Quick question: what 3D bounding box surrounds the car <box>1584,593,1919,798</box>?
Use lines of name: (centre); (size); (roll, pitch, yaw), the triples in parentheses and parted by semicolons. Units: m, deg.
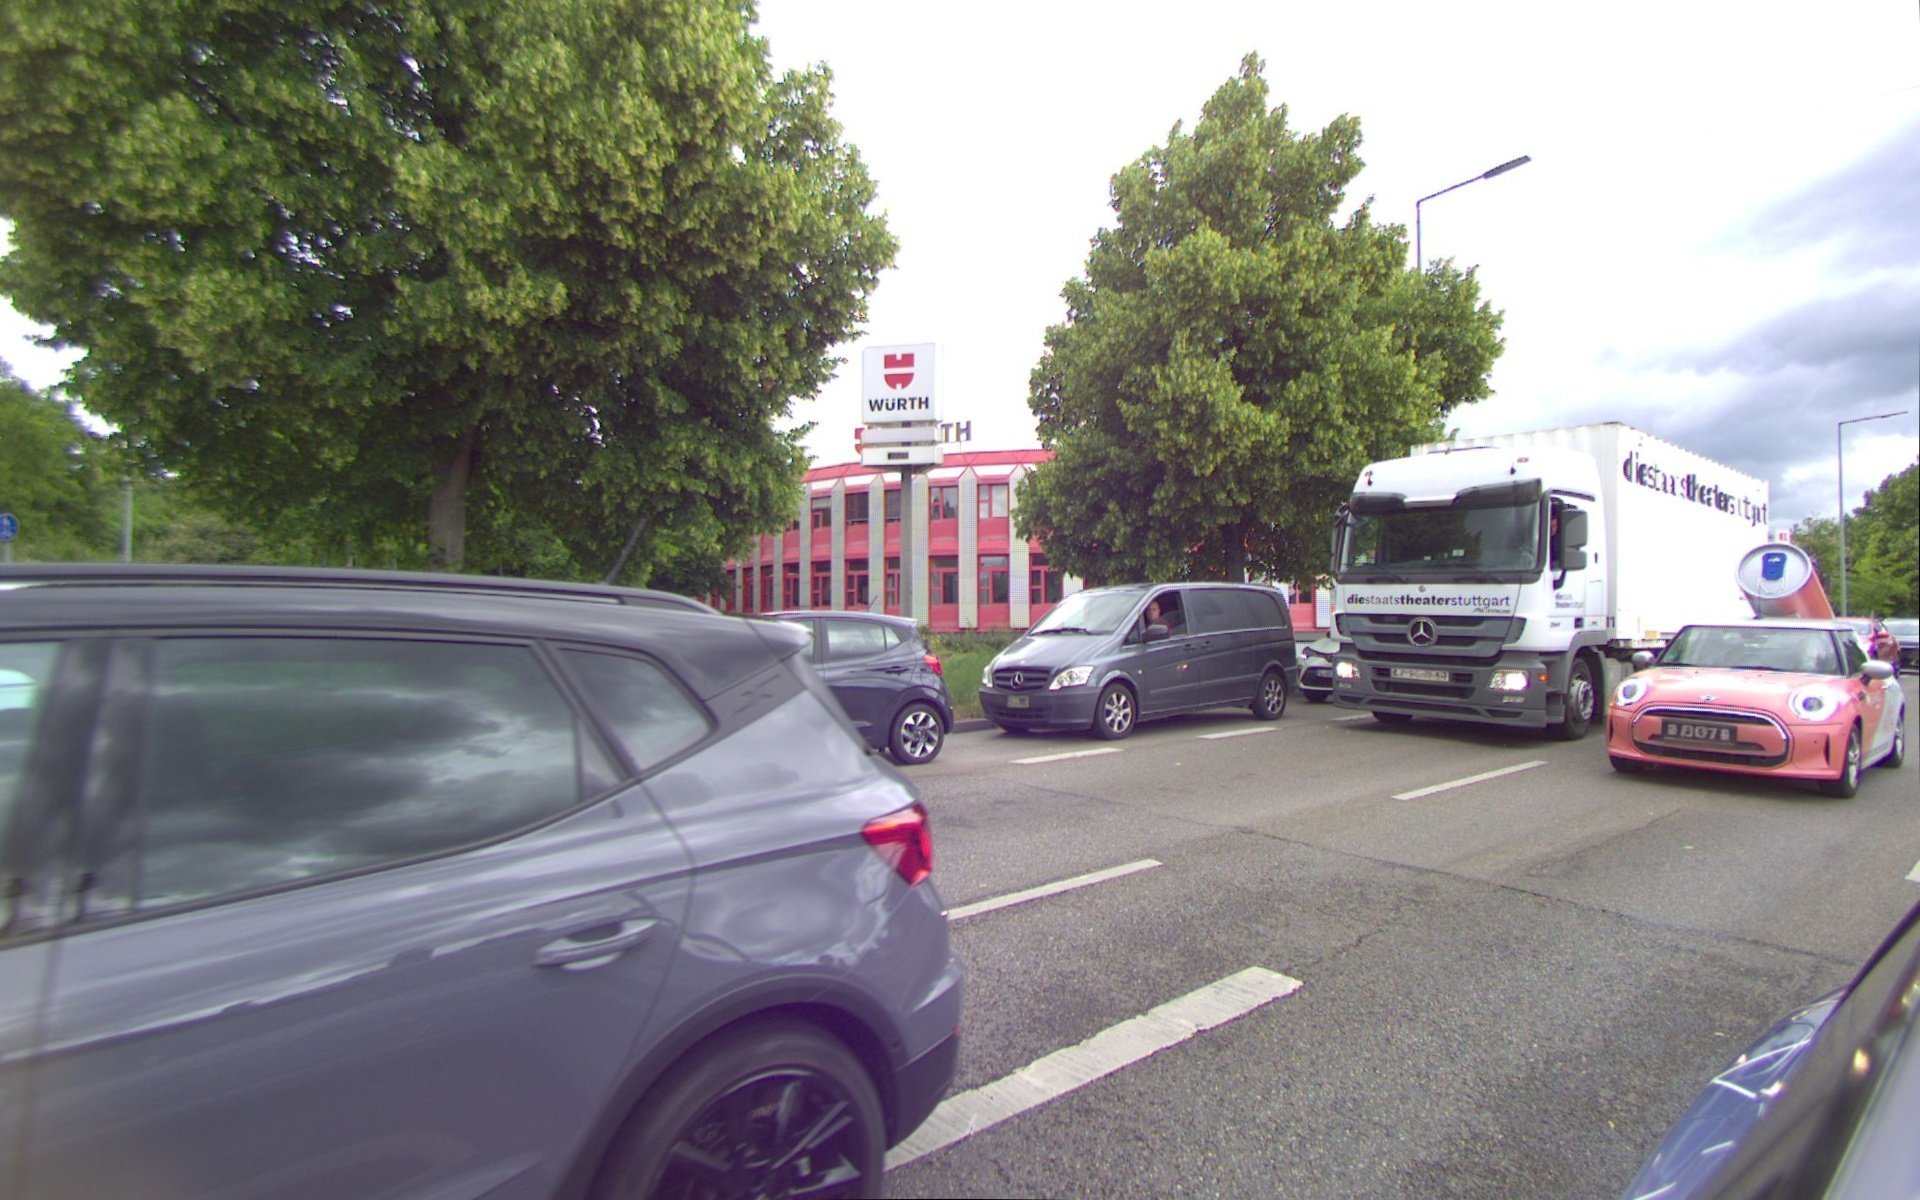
car: (7.406, 0.714, 9.324); (3.431, 1.525, 1.825); (1, 0, -39)

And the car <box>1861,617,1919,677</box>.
car: (28.132, 1.332, 29.711); (4.141, 1.549, 1.798); (-1, 0, -38)

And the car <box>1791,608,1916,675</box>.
car: (22.778, 1.006, 25.757); (4.299, 1.549, 1.850); (1, -1, -41)

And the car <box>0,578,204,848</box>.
car: (-7.816, 0.714, 6.595); (4.278, 1.676, 1.767); (0, -1, -20)

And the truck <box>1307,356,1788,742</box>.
truck: (9.022, -0.509, 14.672); (10.000, 3.953, 2.808); (0, 0, -40)

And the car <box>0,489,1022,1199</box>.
car: (-1.818, 0.616, 1.719); (3.769, 1.512, 1.627); (1, -1, -40)

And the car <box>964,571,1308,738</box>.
car: (2.401, 0.648, 13.078); (4.591, 1.798, 1.761); (0, -4, -40)

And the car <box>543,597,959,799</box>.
car: (-1.899, 0.758, 9.513); (3.495, 1.525, 1.608); (-1, 0, -34)

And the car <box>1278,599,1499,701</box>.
car: (7.397, 0.806, 17.322); (4.034, 1.536, 1.842); (0, -4, -41)
